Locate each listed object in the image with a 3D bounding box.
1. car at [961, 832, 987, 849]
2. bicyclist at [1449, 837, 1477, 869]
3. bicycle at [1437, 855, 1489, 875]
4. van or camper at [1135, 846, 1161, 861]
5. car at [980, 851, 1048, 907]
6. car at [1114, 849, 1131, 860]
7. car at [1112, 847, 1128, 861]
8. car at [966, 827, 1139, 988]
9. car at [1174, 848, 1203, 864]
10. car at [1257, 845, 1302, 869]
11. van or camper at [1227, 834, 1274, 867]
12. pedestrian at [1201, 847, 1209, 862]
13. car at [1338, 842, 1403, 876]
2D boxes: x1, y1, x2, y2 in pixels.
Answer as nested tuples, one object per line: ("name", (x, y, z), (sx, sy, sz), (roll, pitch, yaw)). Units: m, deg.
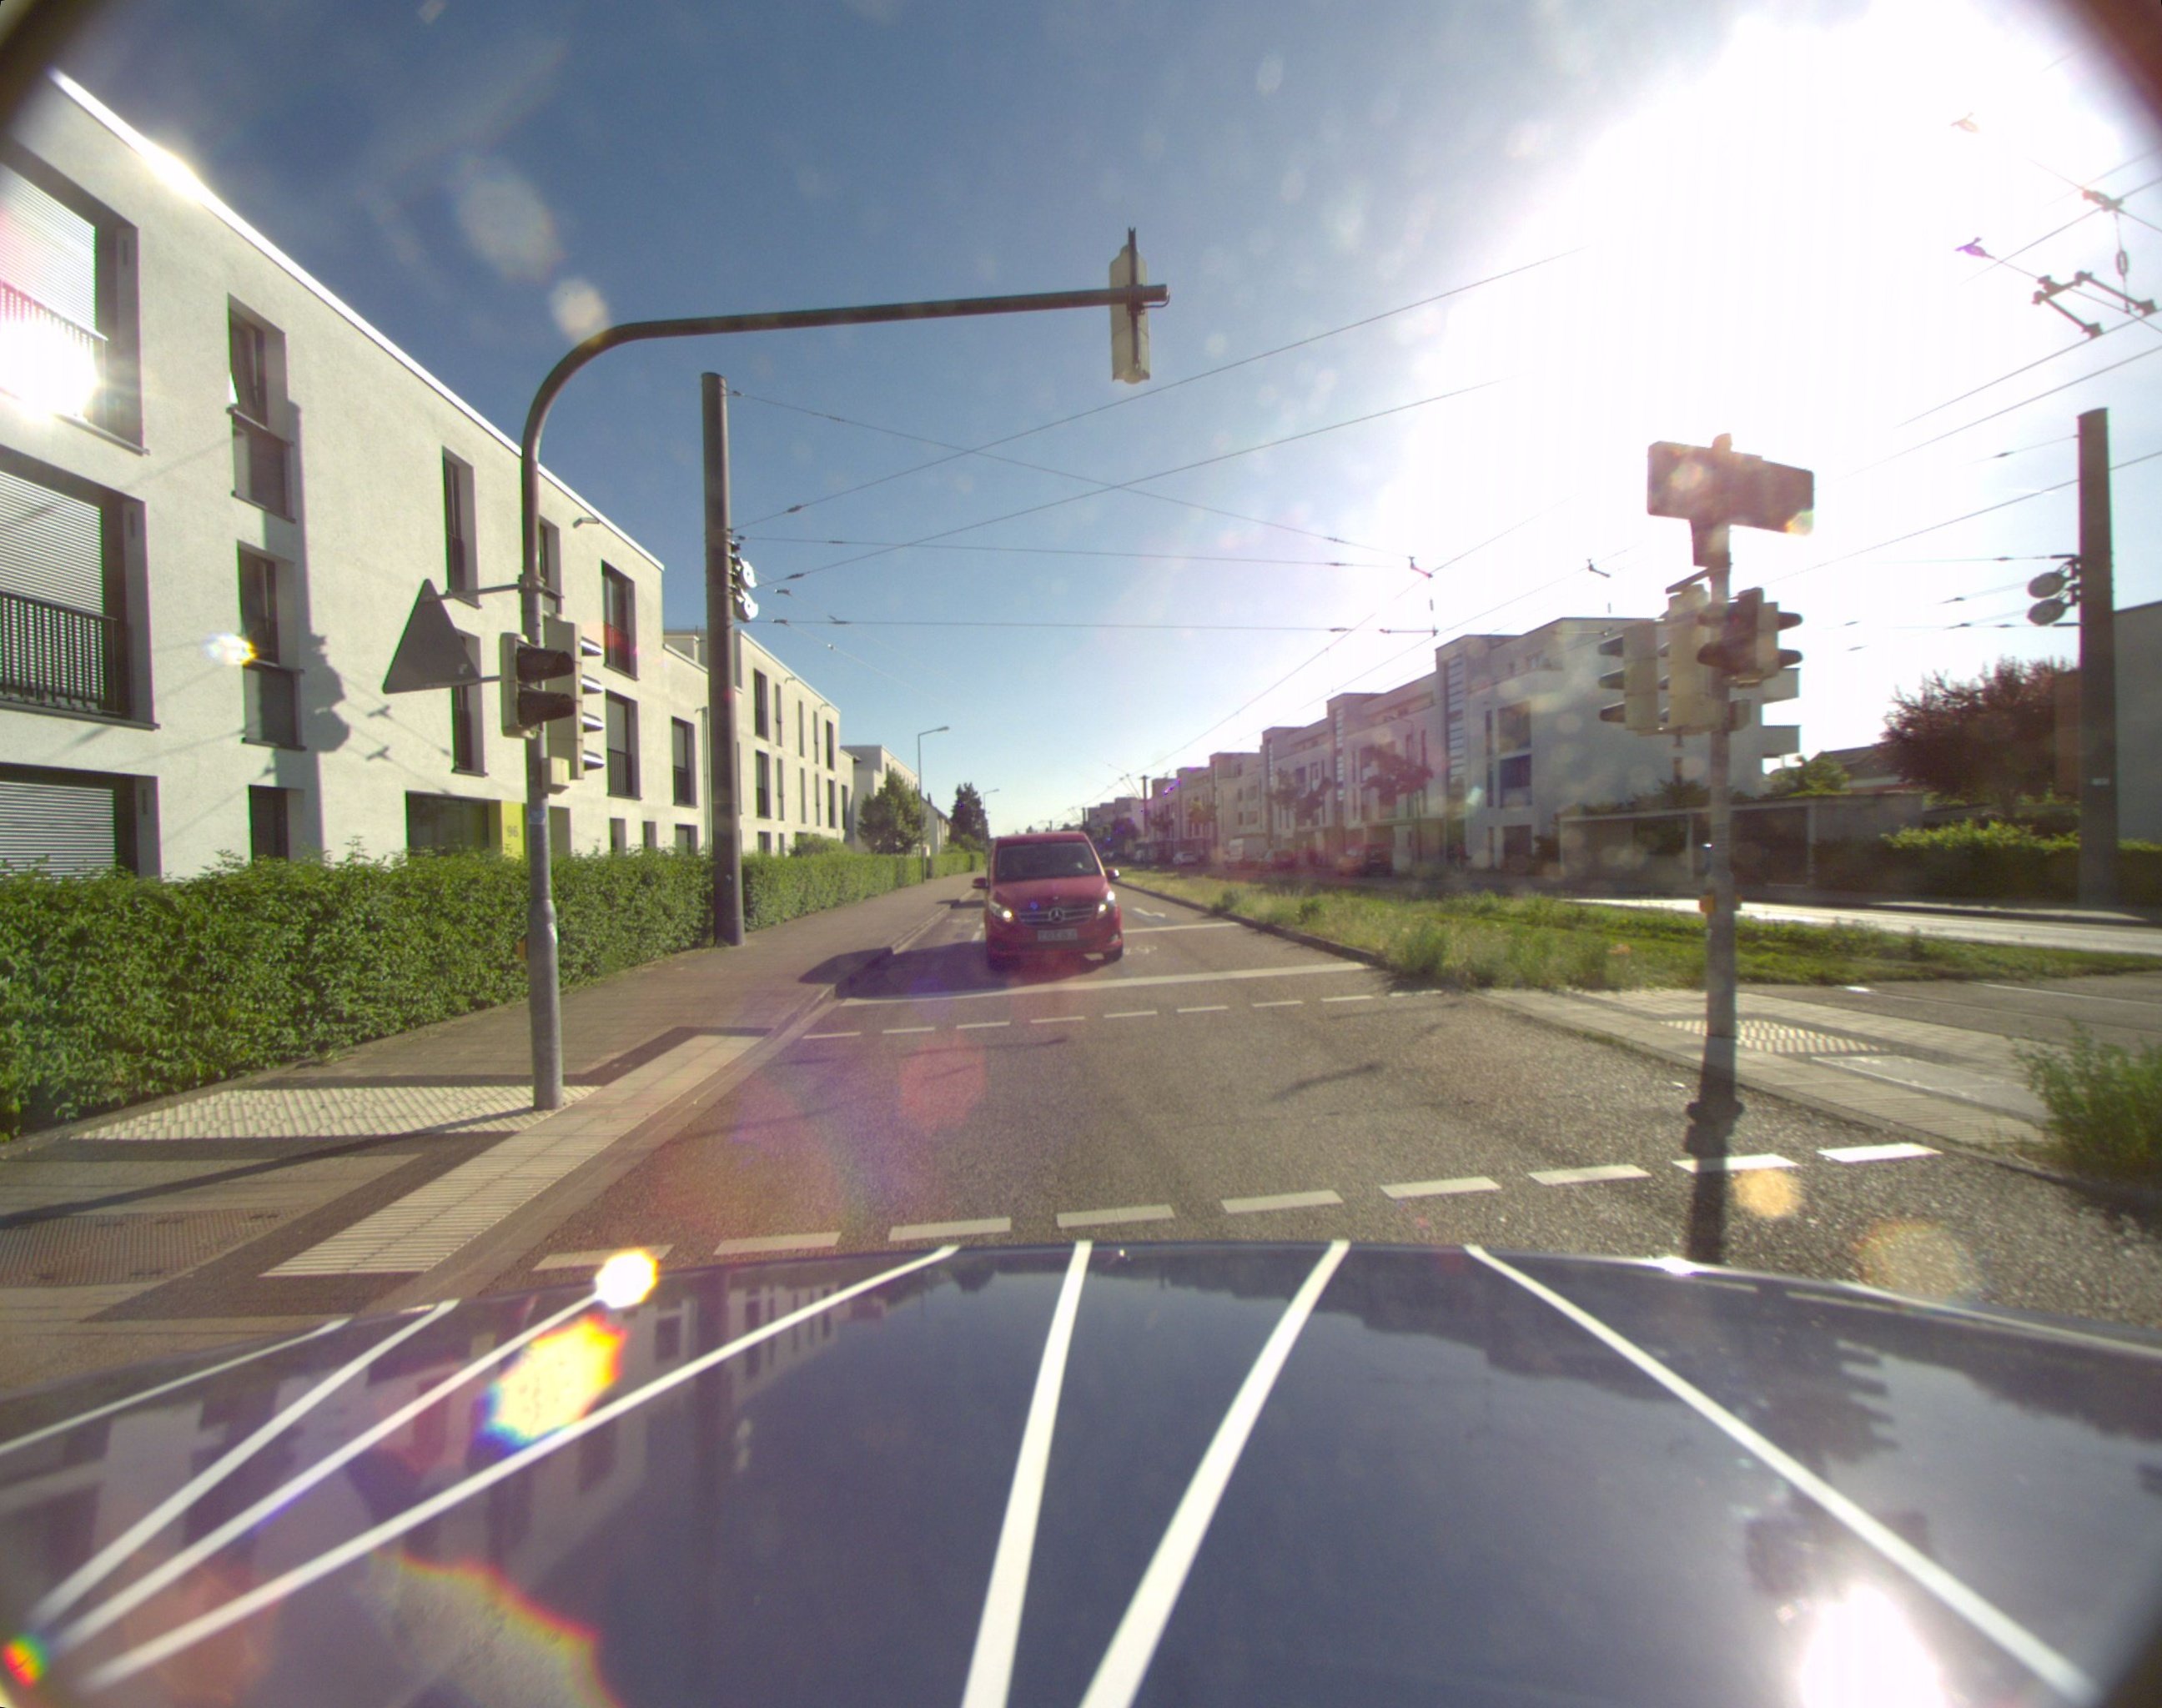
("car", (-16.005, -2.008, 114.137), (3.183, 2.333, 6.172), (-3, 1, -3))
("bicyclist", (18.093, -0.067, 35.970), (0.892, 1.482, 0.745), (-1, 1, -10))
("bicycle", (18.090, 0.494, 36.024), (0.902, 0.887, 2.481), (-1, 1, -10))
("van or camper", (9.011, -0.123, 102.707), (2.274, 1.838, 6.282), (-2, 1, -5))
("car", (-2.433, 0.780, 26.589), (2.000, 1.663, 4.404), (-3, 1, -9))
("car", (6.180, 0.079, 113.286), (1.867, 1.430, 3.493), (-3, 2, -8))
("car", (6.253, -0.020, 121.272), (1.788, 2.002, 3.997), (-3, 1, -8))
("car", (-0.513, 0.677, 12.349), (2.128, 1.958, 5.082), (-3, 0, -3))
("car", (11.486, 0.193, 81.234), (2.047, 1.577, 4.118), (-1, 1, -7))
("car", (14.104, 0.170, 54.091), (1.935, 1.604, 3.834), (-1, 1, -4))
("van or camper", (13.431, -0.277, 60.567), (2.198, 2.450, 5.257), (-1, 1, -5))
("pedestrian", (13.626, 0.082, 83.278), (0.619, 1.634, 0.612), (-3, 1, -11))
("car", (15.324, 0.238, 40.489), (1.794, 1.713, 3.906), (0, 1, -3))
